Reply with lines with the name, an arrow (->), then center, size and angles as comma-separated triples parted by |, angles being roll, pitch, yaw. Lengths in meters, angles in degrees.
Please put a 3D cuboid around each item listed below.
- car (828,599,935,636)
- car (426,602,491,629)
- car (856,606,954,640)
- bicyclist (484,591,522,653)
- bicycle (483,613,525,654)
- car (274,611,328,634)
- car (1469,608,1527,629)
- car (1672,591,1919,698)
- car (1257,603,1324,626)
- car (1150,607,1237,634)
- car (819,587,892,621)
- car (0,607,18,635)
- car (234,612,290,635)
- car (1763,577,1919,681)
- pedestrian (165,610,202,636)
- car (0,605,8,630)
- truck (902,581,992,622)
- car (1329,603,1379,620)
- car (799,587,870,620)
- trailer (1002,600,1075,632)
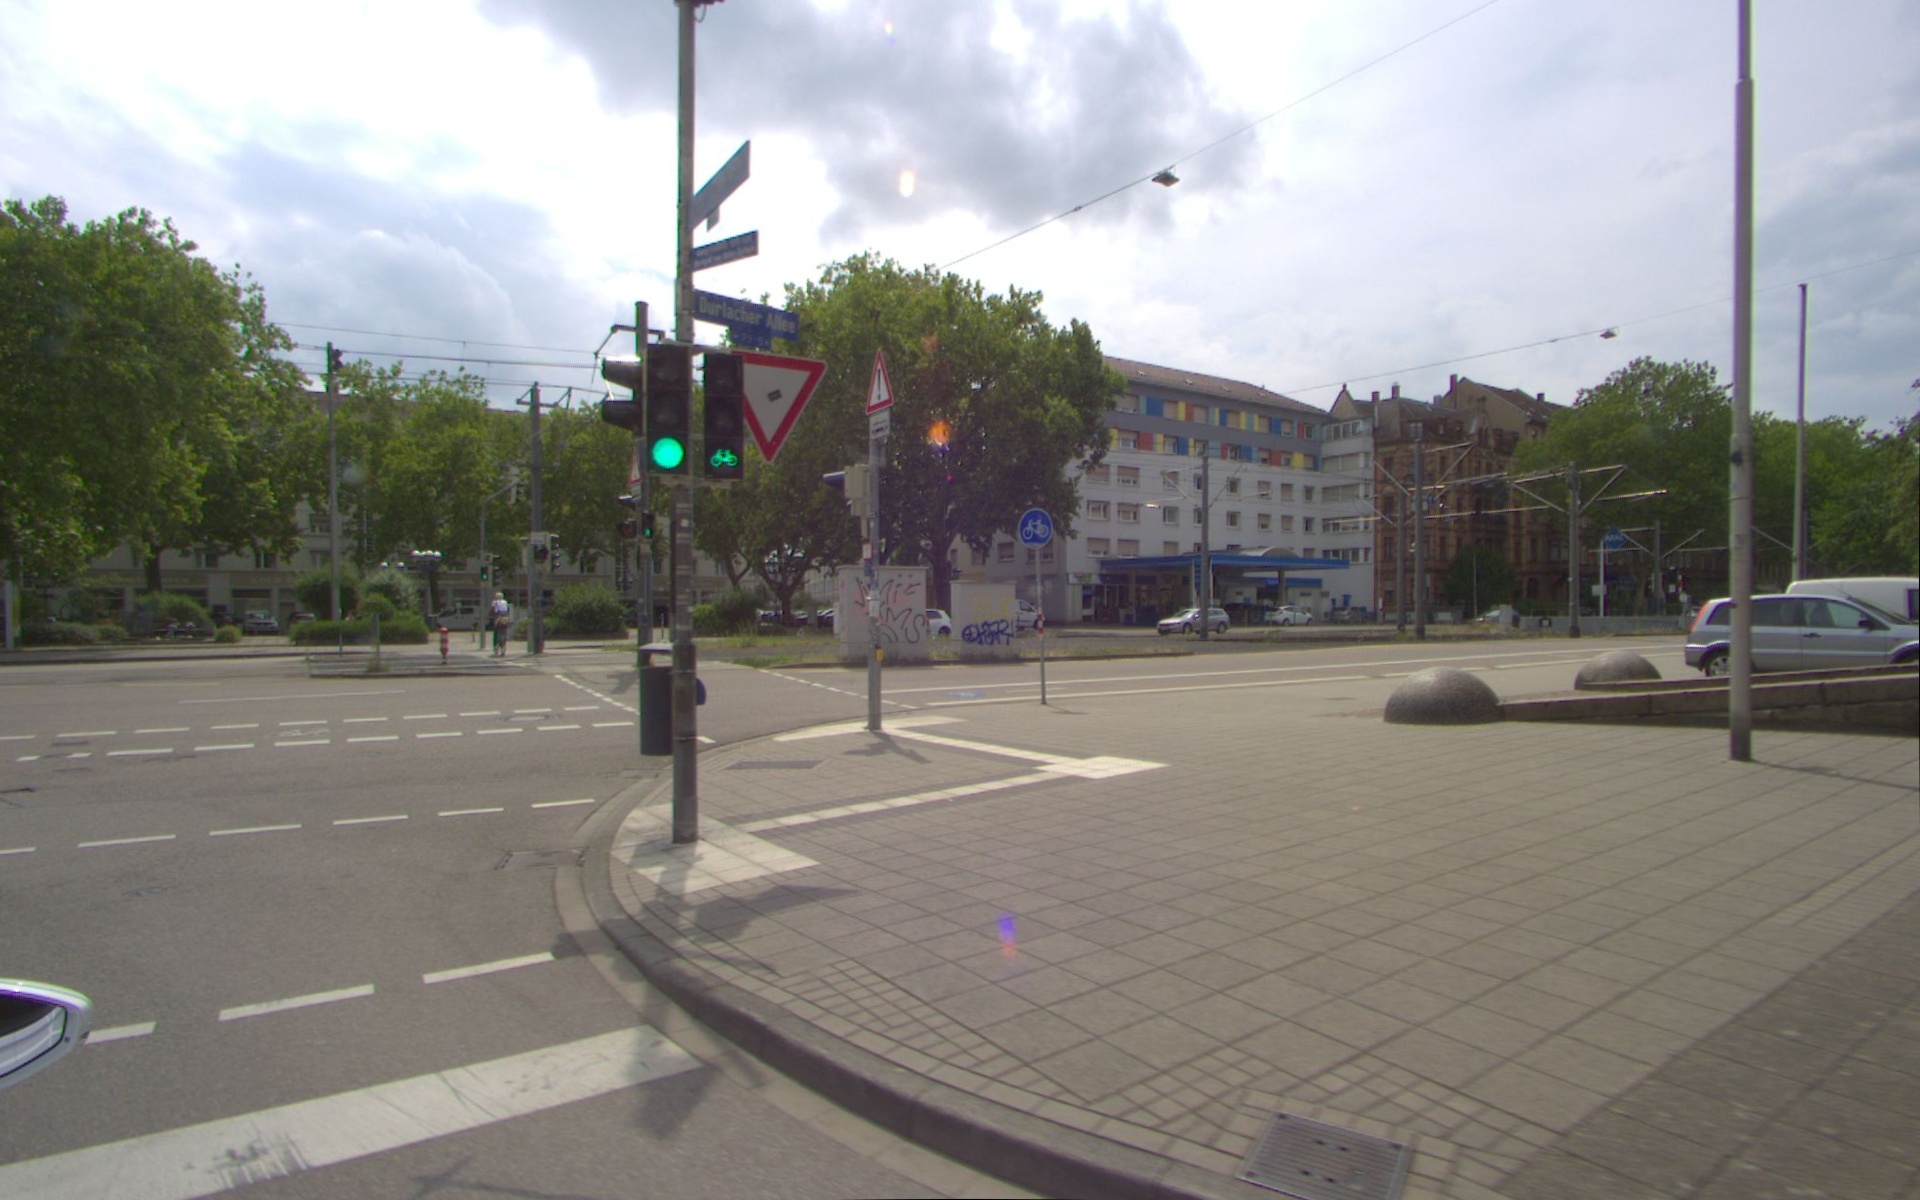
car -> -3.123, 0.669, 40.027 | 3.942, 1.418, 1.616 | 0, 0, -30
car -> -35.445, 1.078, 70.780 | 3.947, 1.908, 1.845 | 0, 0, -34
car -> -2.432, 1.020, 44.495 | 4.021, 1.433, 1.751 | 0, -1, -30
bicyclist -> -12.704, 0.600, 27.857 | 0.894, 1.706, 0.753 | 0, 0, -30
bicycle -> -12.726, 0.907, 27.923 | 0.892, 1.089, 1.960 | 0, 0, -30
car -> -46.334, 1.575, 70.377 | 3.948, 1.539, 1.987 | 0, 0, 37
car -> 37.514, 1.281, 69.827 | 3.942, 1.418, 1.751 | 0, -1, -30
car -> 14.181, 0.659, 16.128 | 1.992, 1.563, 4.002 | 0, 0, -33
car -> 23.090, 1.018, 69.865 | 4.555, 1.535, 1.985 | 0, -1, -32
car -> 12.791, 1.111, 54.768 | 4.732, 1.418, 1.751 | 0, -1, -30
car -> -8.353, 0.329, 79.940 | 5.270, 2.618, 2.481 | 0, -1, -36
car -> -59.323, 1.260, 61.290 | 3.948, 1.706, 1.798 | 0, 0, 37
car -> -47.930, 1.572, 68.733 | 3.948, 1.523, 1.987 | 0, 0, 37
car -> 16.916, 0.483, 17.290 | 1.926, 1.749, 4.394 | 0, 0, -33
pedestrian -> -38.841, 1.130, 50.062 | 1.422, 1.252, 1.087 | -1, 1, 36
car -> -66.734, 1.220, 68.513 | 1.788, 1.706, 3.971 | 0, 0, -36
truck -> -0.965, 0.123, 67.589 | 3.041, 2.612, 6.467 | 0, 0, -34
car -> 34.041, 1.020, 86.473 | 4.411, 1.433, 1.748 | 0, 0, -33
car -> -10.275, 0.324, 82.151 | 5.270, 2.618, 2.481 | 0, -1, -36
trailer -> 4.932, 0.960, 62.770 | 4.377, 1.951, 1.842 | 0, 0, -34
